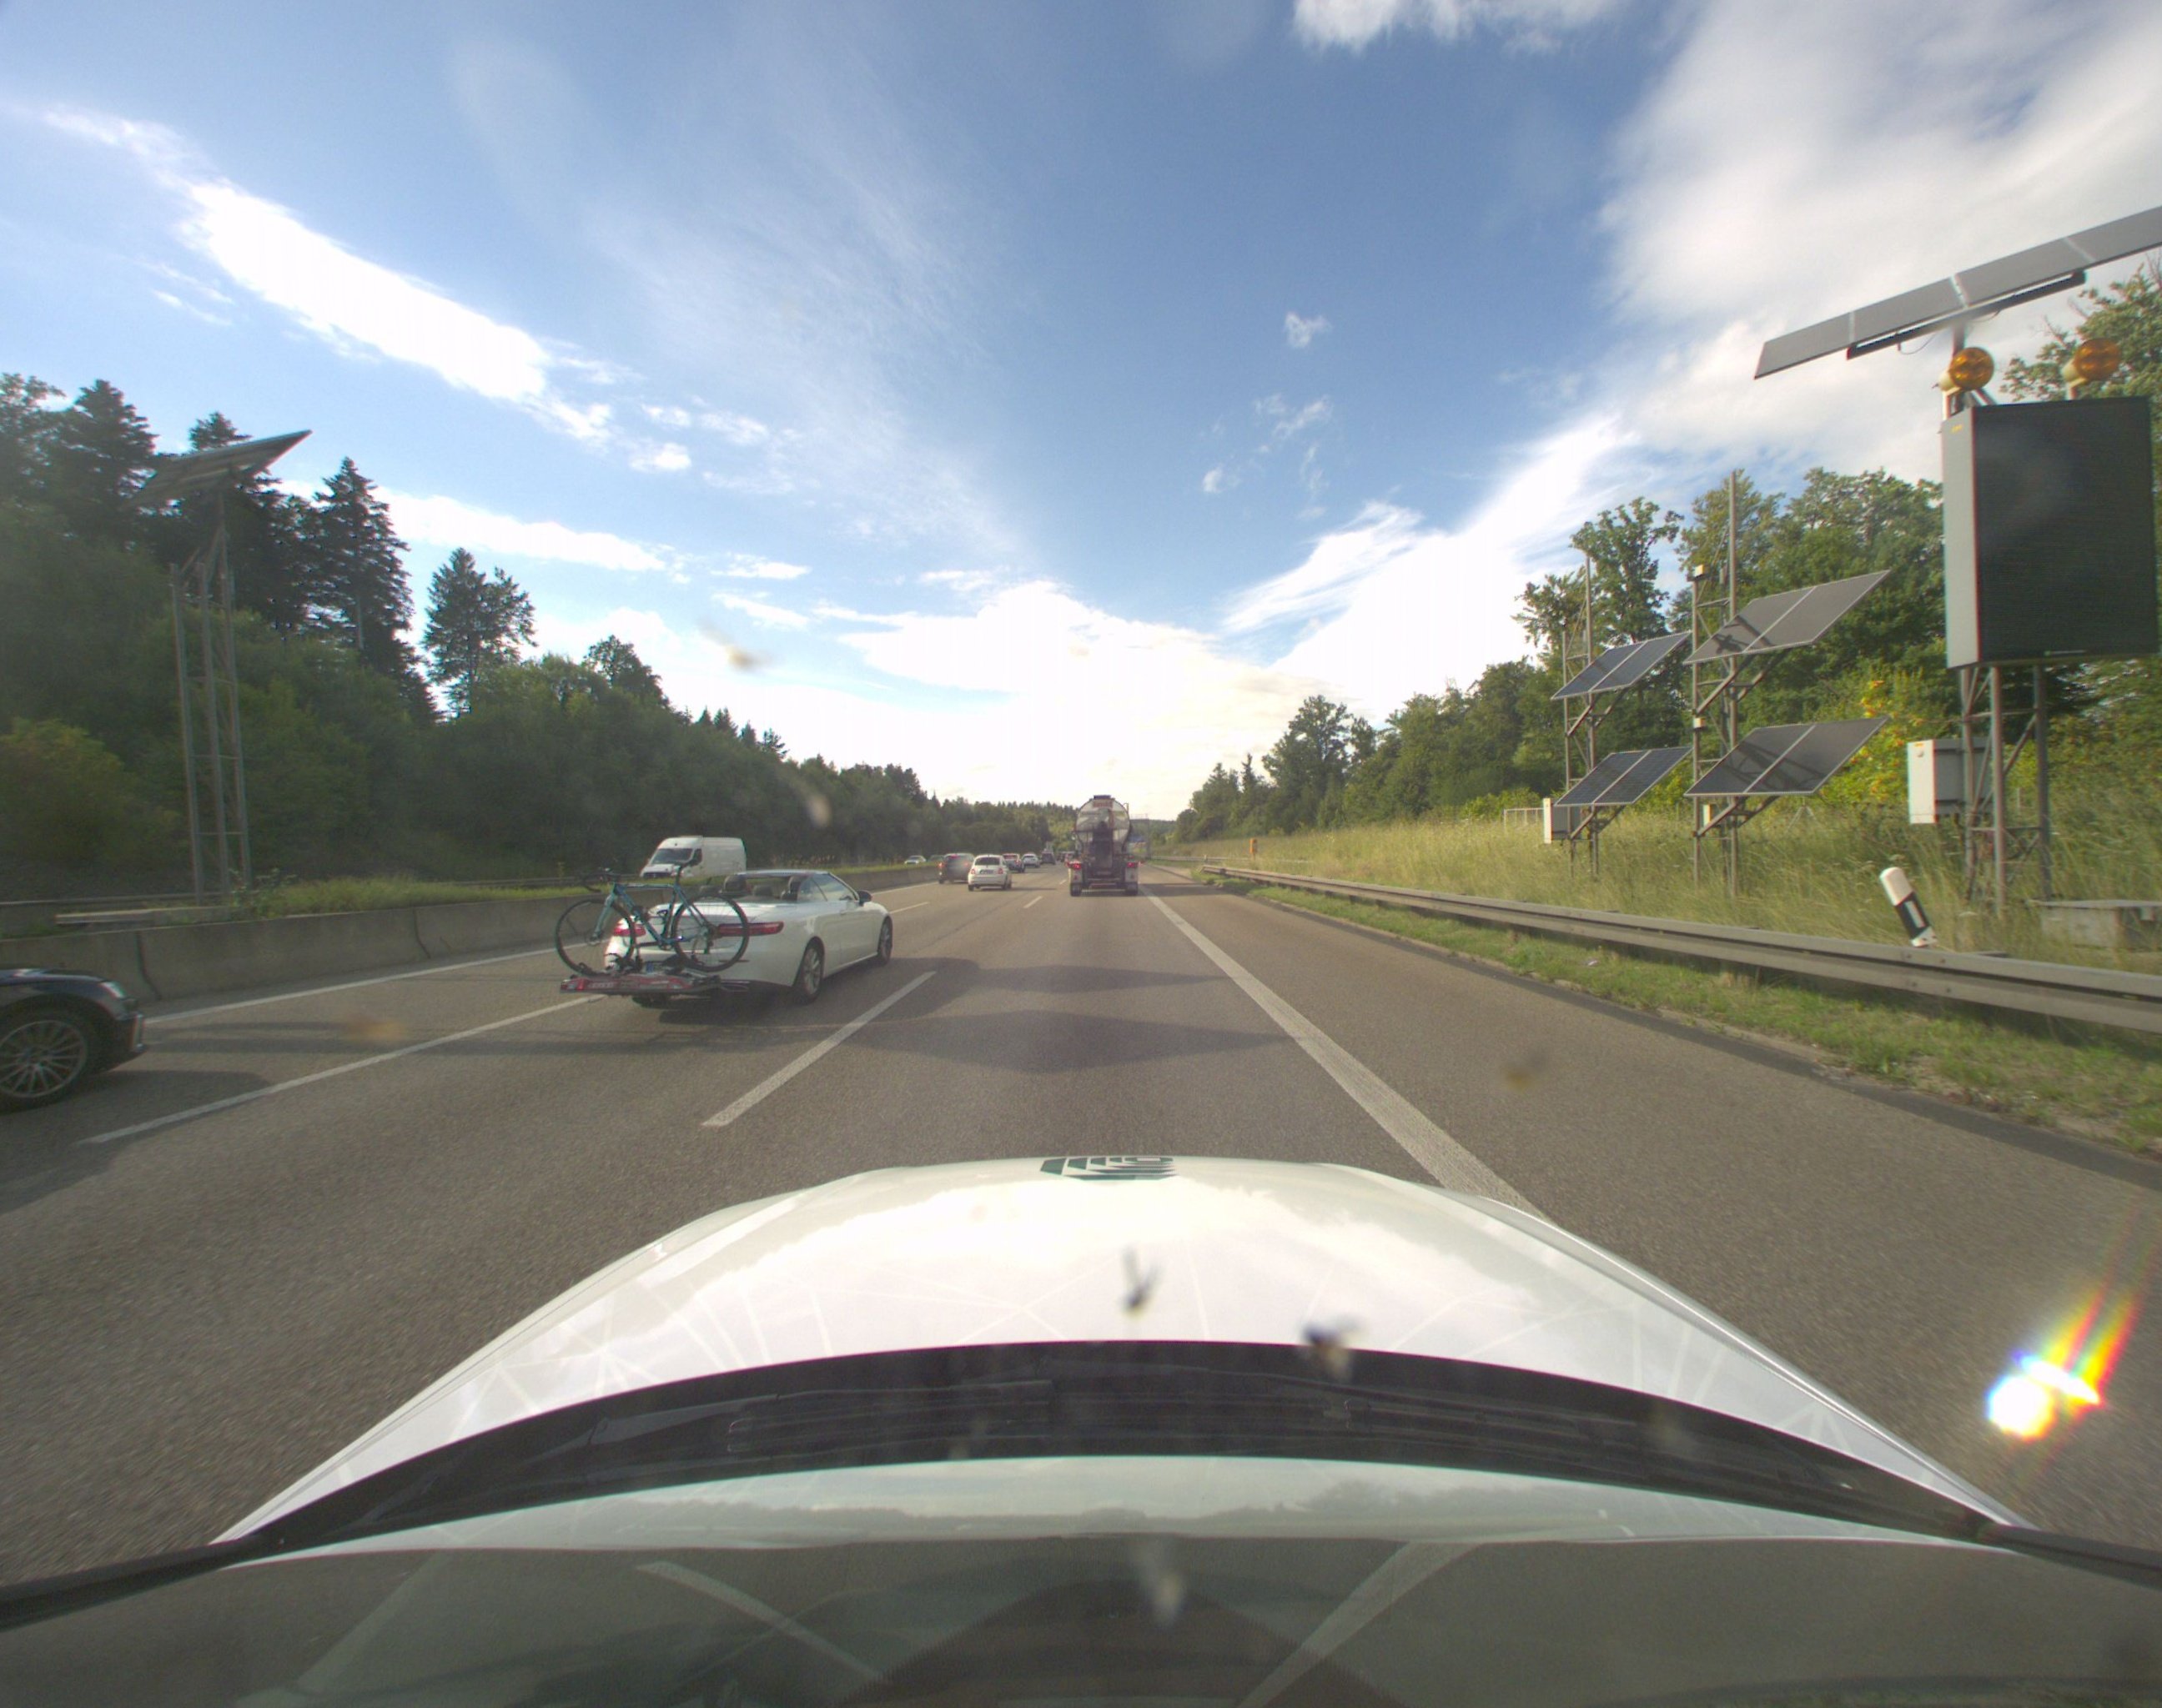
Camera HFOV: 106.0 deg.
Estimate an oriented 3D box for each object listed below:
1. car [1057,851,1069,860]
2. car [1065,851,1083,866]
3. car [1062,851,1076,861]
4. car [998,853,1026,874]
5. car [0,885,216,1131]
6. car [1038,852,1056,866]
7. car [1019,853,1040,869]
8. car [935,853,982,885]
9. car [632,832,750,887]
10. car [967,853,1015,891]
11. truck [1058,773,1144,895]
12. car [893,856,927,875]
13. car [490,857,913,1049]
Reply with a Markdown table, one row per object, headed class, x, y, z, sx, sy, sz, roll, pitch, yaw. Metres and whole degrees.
| class | x | y | z | sx | sy | sz | roll | pitch | yaw |
| --- | --- | --- | --- | --- | --- | --- | --- | --- | --- |
| car | -3.186 | 0.255 | 145.281 | 1.935 | 1.456 | 4.208 | 0 | 1 | 1 |
| car | -0.813 | 0.522 | 97.855 | 1.935 | 1.654 | 4.208 | 0 | 1 | 1 |
| car | -1.886 | 0.308 | 128.148 | 1.935 | 1.456 | 4.208 | 0 | 1 | 1 |
| car | -5.463 | 0.728 | 64.842 | 1.800 | 1.585 | 4.208 | 0 | 1 | 1 |
| car | -7.469 | 0.967 | 3.671 | 1.849 | 1.431 | 4.843 | -1 | 0 | 2 |
| car | -4.346 | 0.632 | 104.841 | 1.935 | 1.585 | 4.208 | 0 | 1 | 1 |
| car | -5.386 | 0.755 | 85.659 | 1.800 | 1.585 | 4.208 | 0 | 1 | 1 |
| car | -6.588 | 0.778 | 44.153 | 1.800 | 1.585 | 4.208 | 0 | 1 | 1 |
| car | -17.997 | 0.226 | 38.079 | 2.101 | 2.312 | 6.727 | -1 | 0 | 2 |
| car | -3.852 | 0.743 | 35.477 | 1.612 | 1.544 | 3.521 | 0 | 0 | 1 |
| truck | 0.913 | -0.706 | 33.754 | 2.901 | 4.157 | 11.275 | -1 | 0 | 2 |
| car | -20.553 | 1.299 | 98.256 | 2.569 | 2.138 | 5.968 | -1 | 0 | 2 |
| car | -3.681 | 0.814 | 9.492 | 2.052 | 1.499 | 5.739 | -1 | 0 | 2 |
